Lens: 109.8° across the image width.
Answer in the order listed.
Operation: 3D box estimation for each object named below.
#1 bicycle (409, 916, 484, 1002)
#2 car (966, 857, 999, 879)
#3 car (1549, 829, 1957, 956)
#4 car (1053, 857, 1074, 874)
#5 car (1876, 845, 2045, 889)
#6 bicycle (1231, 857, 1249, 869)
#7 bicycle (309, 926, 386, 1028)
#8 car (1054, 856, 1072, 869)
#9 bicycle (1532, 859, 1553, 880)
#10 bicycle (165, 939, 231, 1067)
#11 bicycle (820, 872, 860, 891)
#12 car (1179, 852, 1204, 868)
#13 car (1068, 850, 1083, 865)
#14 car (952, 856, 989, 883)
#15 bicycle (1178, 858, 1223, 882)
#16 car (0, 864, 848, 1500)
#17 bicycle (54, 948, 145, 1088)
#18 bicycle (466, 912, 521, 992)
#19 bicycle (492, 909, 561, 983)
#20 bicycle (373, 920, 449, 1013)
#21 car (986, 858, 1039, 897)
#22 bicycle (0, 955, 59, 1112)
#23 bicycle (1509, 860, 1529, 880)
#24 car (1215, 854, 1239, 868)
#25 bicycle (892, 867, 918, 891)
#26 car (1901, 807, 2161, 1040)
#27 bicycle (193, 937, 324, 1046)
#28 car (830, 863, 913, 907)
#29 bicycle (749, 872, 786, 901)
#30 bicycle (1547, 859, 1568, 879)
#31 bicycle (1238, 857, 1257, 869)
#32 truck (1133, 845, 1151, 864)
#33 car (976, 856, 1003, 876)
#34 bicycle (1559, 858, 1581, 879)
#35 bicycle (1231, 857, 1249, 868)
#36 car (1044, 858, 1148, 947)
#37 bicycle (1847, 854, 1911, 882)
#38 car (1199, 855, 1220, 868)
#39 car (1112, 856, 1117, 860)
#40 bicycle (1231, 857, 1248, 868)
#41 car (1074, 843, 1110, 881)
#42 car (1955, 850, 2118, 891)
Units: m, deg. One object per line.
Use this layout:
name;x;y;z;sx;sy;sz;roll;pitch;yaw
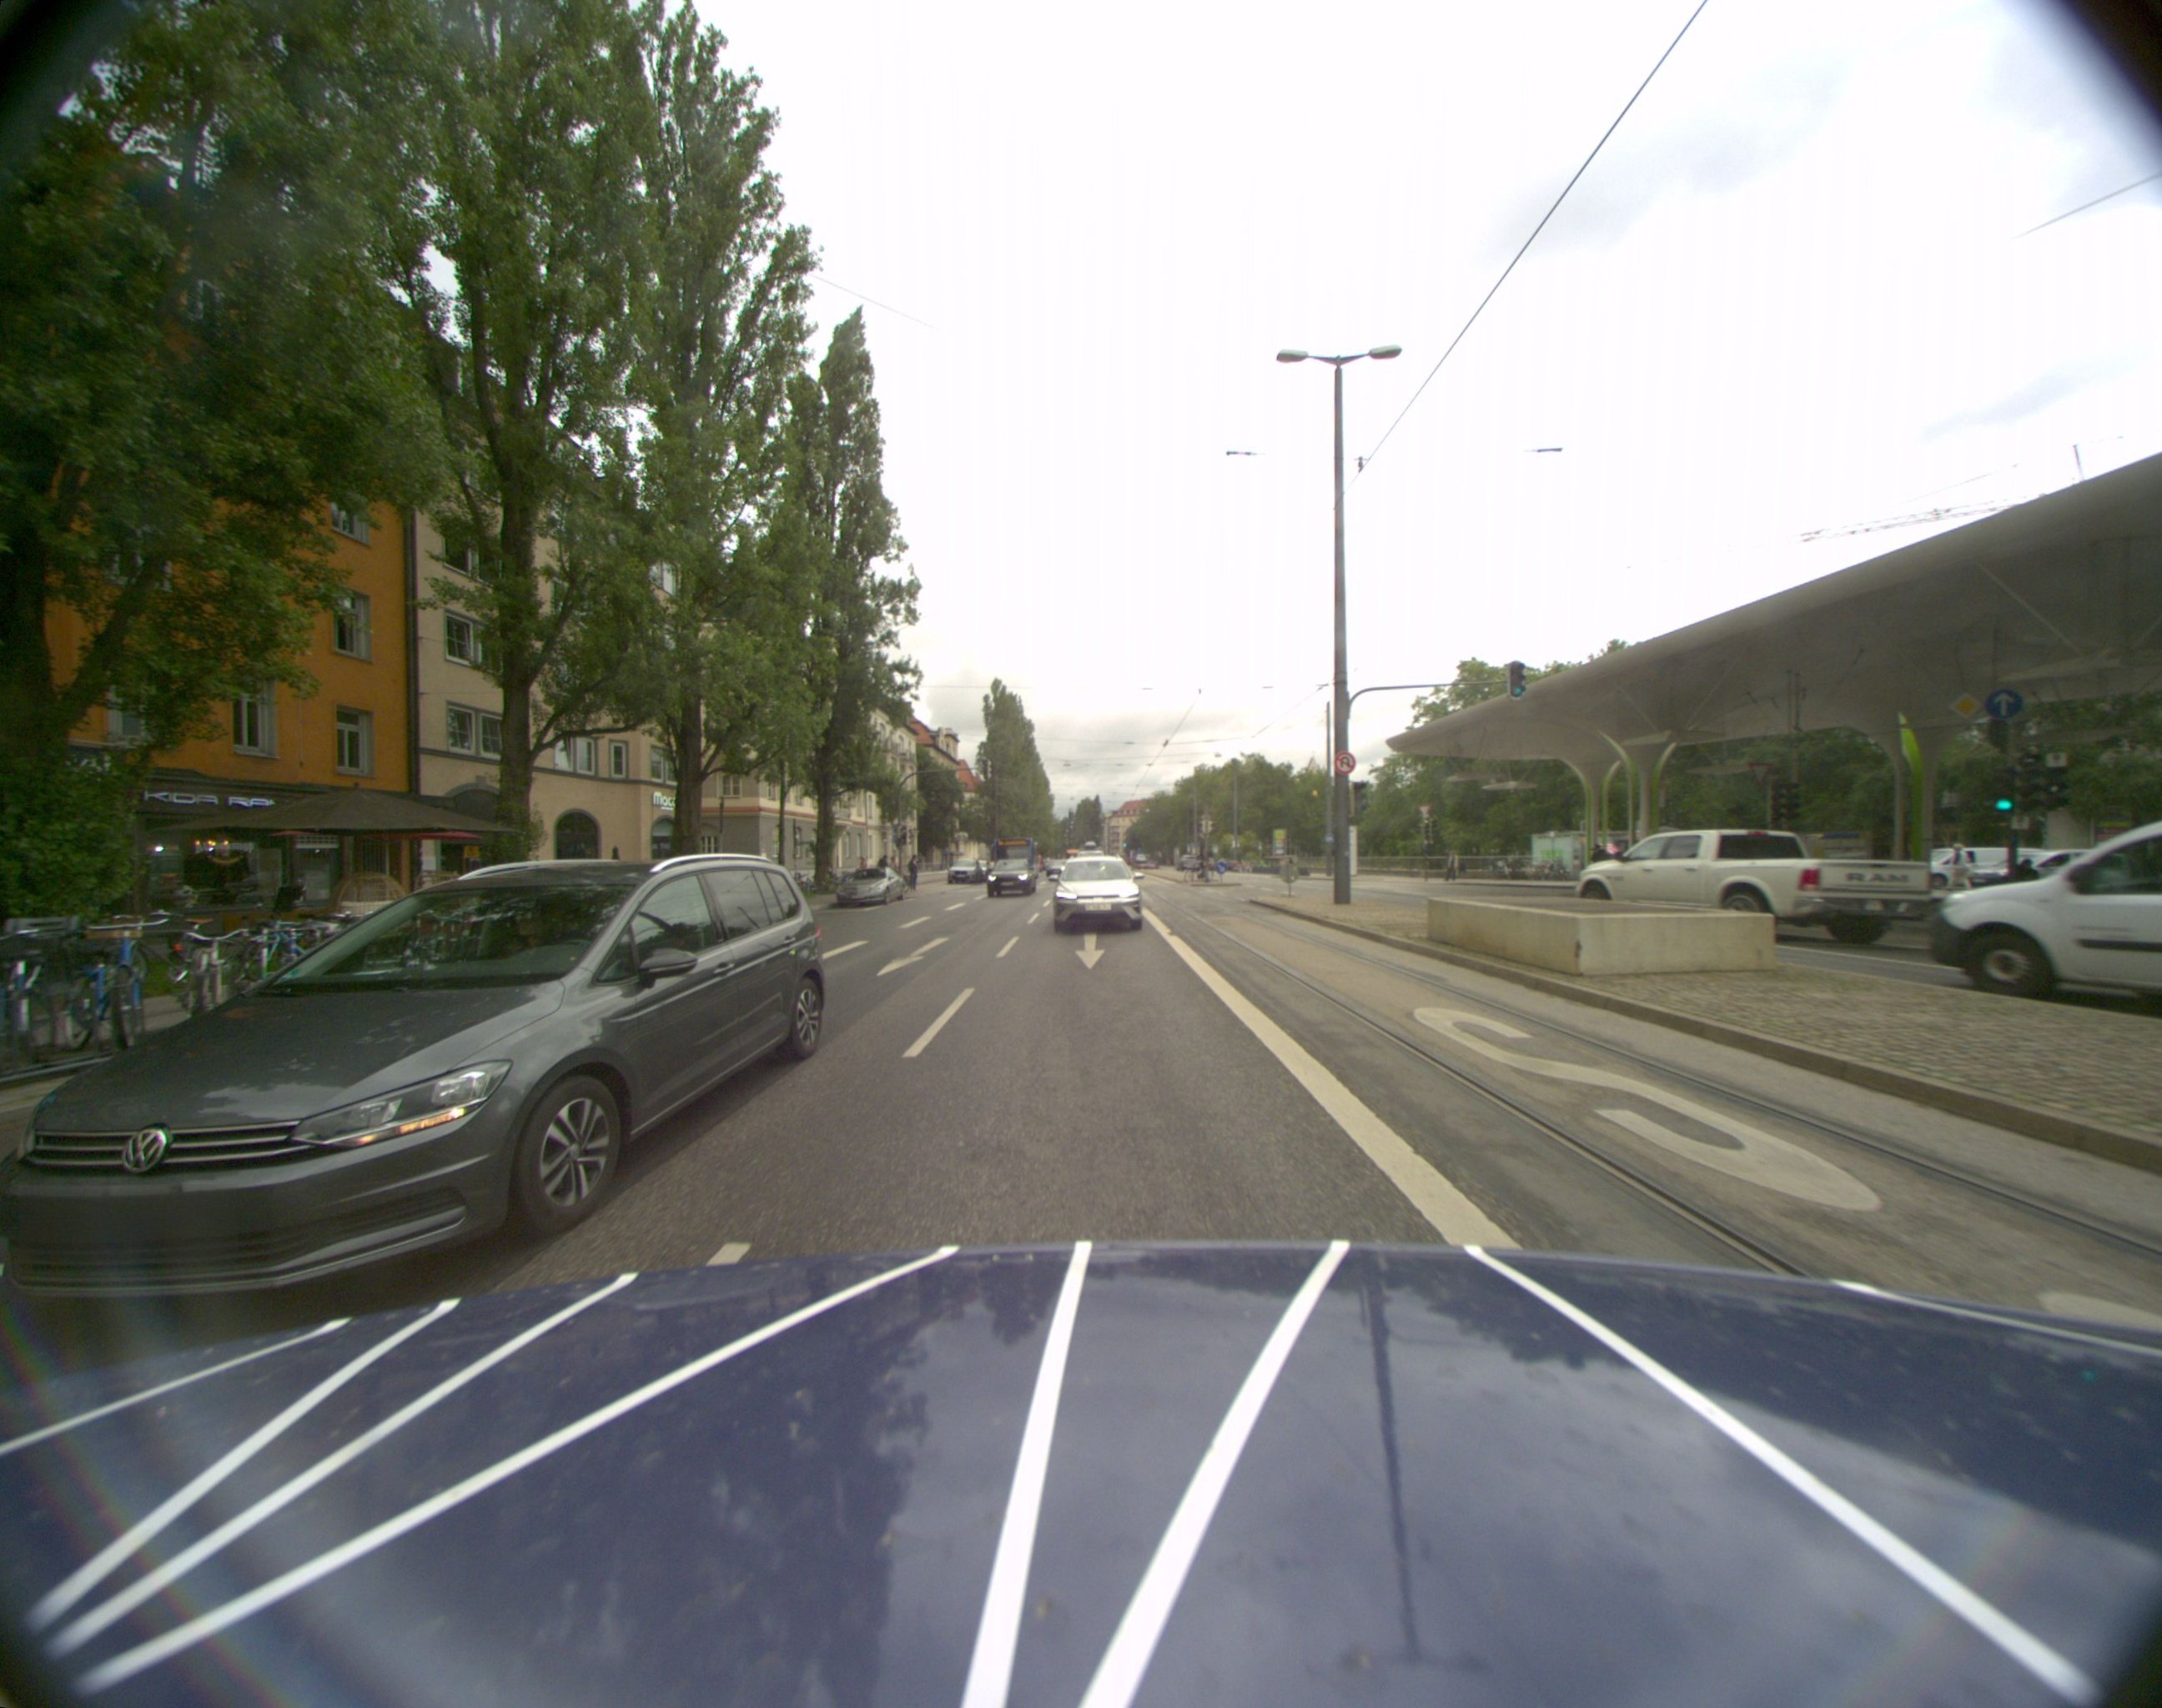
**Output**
bicycle;-8.387;1.346;10.014;1.837;0.990;0.376;-2;-1;38
car;-7.306;1.023;56.548;1.730;1.567;3.967;0;0;2
car;11.896;0.568;14.379;2.181;1.876;6.155;1;0;-1
car;-1.550;1.031;68.371;1.704;1.425;4.244;2;1;1
car;39.914;0.587;34.635;4.923;1.936;1.872;0;0;11
bicycle;16.108;0.922;77.022;1.693;1.165;0.561;-1;0;-9
bicycle;-8.356;1.345;8.629;1.837;0.990;0.376;-2;-1;38
car;-1.844;0.860;78.441;1.704;1.360;3.632;-1;0;1
bicycle;26.080;0.864;42.935;0.479;1.090;1.851;0;0;15
bicycle;-8.344;1.344;7.165;1.837;0.990;0.326;-2;-1;38
bicycle;-12.048;1.378;38.033;1.837;0.911;0.392;-2;1;2
car;11.436;0.616;79.072;1.868;1.629;4.677;1;0;-1
car;-1.045;0.675;146.255;2.806;2.835;5.115;2;-1;1
car;-7.458;1.023;51.531;1.737;1.651;4.502;-3;0;0
bicycle;6.158;0.812;39.111;2.233;1.144;0.505;-2;1;-17
car;-3.068;0.950;4.428;1.776;1.637;4.708;-2;0;2
bicycle;-8.435;1.347;6.513;1.837;0.990;0.326;-2;-1;33
bicycle;-8.334;1.343;10.751;0.376;0.990;1.837;-1;-1;-45
bicycle;-8.319;1.342;11.374;1.837;0.990;0.376;-2;-1;39
bicycle;-8.287;1.341;9.376;1.837;0.990;0.376;-2;-1;38
car;-2.828;0.947;32.225;1.780;1.495;3.970;-2;0;1
bicycle;-8.348;1.343;5.860;1.837;0.990;0.326;-2;-1;43
bicycle;24.869;0.921;43.148;0.479;1.090;1.851;0;0;15
car;16.168;0.791;84.437;1.864;1.517;4.233;0;0;1
bicycle;-8.456;1.205;36.488;0.360;1.096;1.740;-1;1;-43
car;9.492;0.559;5.812;1.791;1.844;4.217;0;0;-2
bicycle;-8.565;1.387;7.895;1.837;0.990;0.376;-2;-1;25
car;-7.890;1.127;29.106;1.999;1.432;4.528;-1;0;-1
bicycle;-11.255;1.167;27.310;0.590;0.959;1.653;-1;0;1
bicycle;26.800;0.830;42.726;0.479;1.090;1.851;0;0;15
bicycle;16.474;0.905;75.264;1.693;1.165;0.561;-1;0;-9
truck;10.326;0.060;129.800;2.572;3.069;7.691;1;0;1
car;-7.340;0.956;61.361;1.730;1.500;3.742;-1;0;0
bicycle;27.351;0.803;42.532;0.479;1.090;1.851;0;0;15
bicycle;16.483;0.903;78.863;1.692;1.165;0.505;-1;0;-3
car;0.362;0.879;16.027;1.812;1.496;4.953;-2;0;2
bicycle;41.173;0.705;39.261;0.635;1.413;2.563;-1;0;1
car;15.940;0.868;94.565;1.998;1.561;4.102;-1;0;1
car;11.423;1.370;258.654;1.628;1.473;3.602;-1;0;1
bicycle;16.583;0.909;79.462;1.692;1.165;0.562;-1;0;-2
car;0.682;0.468;46.319;1.998;2.100;4.000;-3;1;1
car;39.358;0.666;31.391;3.994;1.606;1.832;-1;0;9
